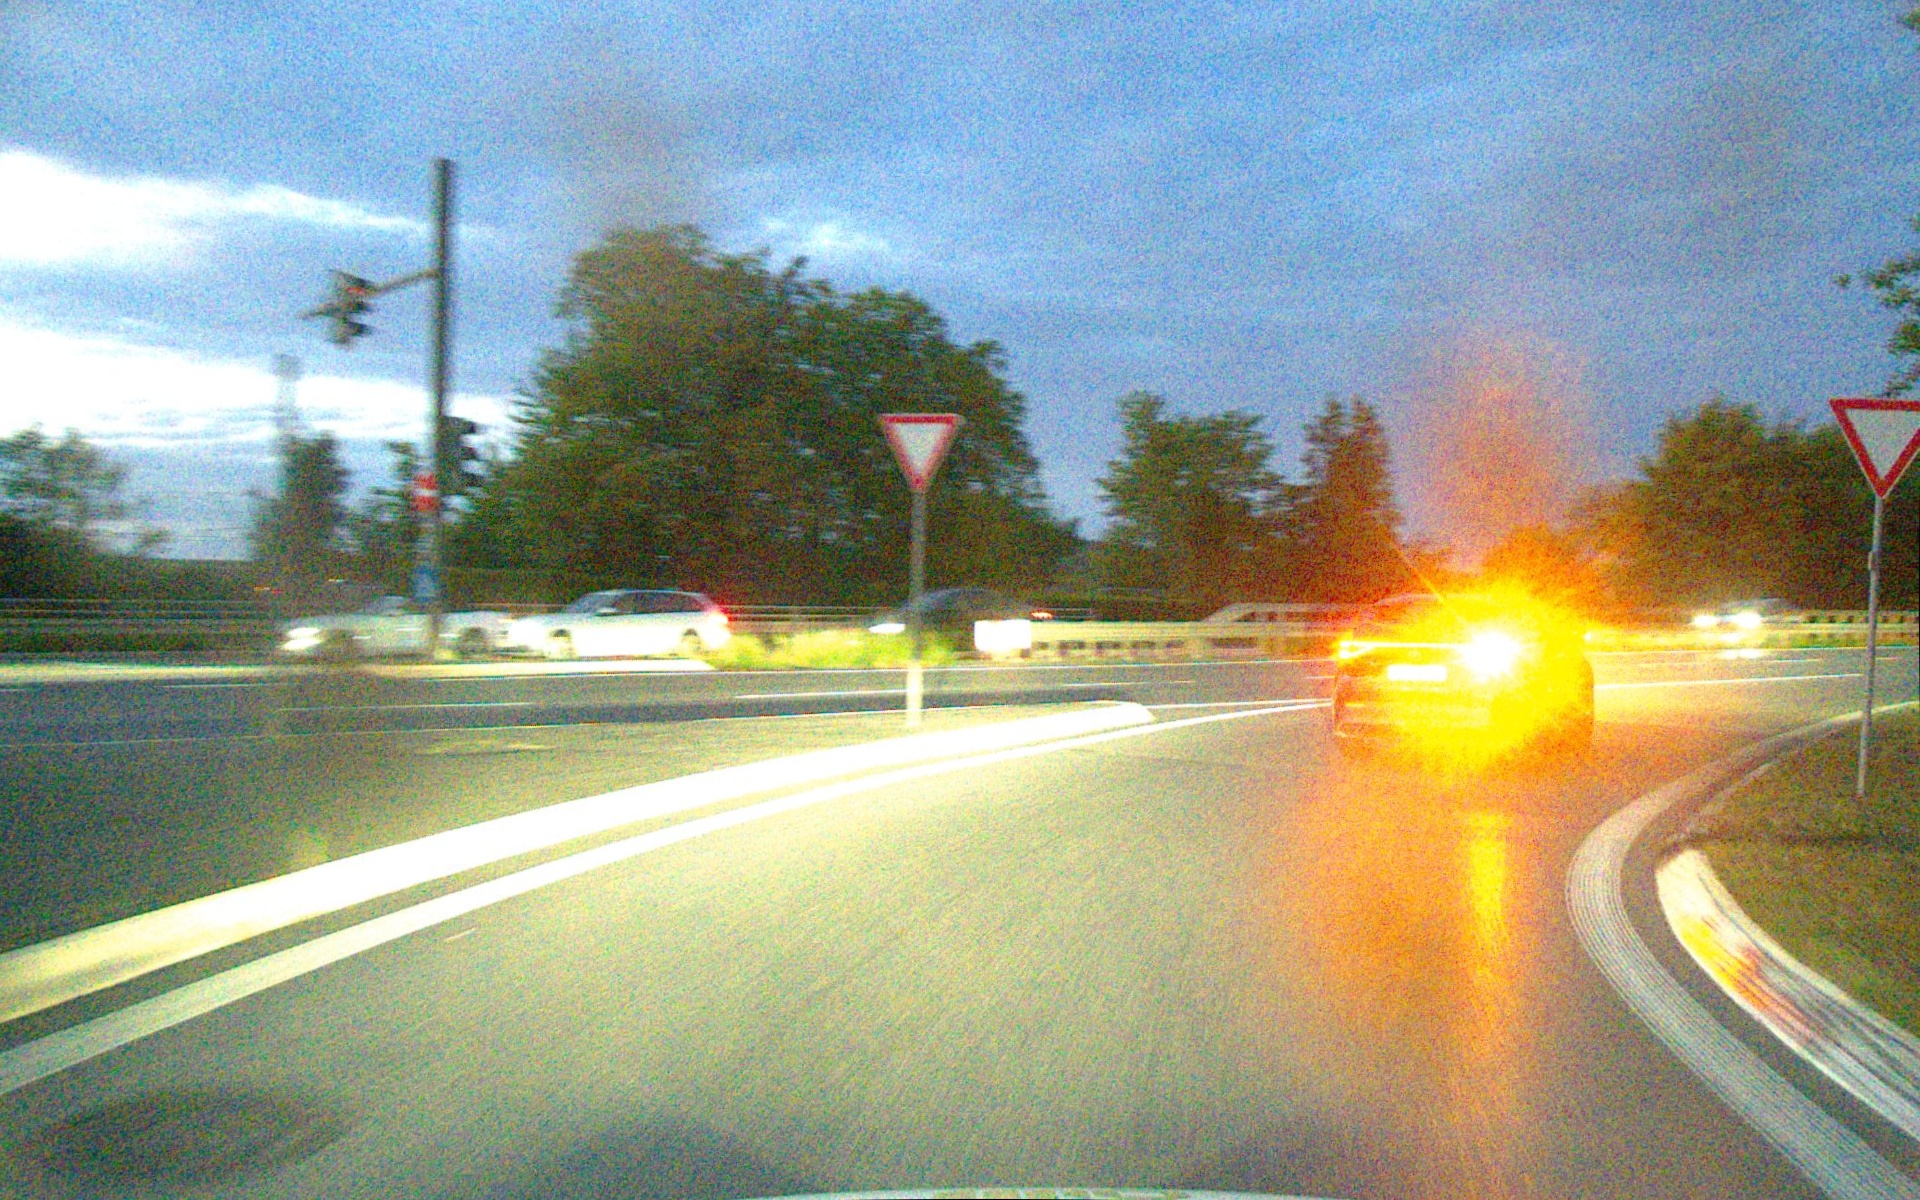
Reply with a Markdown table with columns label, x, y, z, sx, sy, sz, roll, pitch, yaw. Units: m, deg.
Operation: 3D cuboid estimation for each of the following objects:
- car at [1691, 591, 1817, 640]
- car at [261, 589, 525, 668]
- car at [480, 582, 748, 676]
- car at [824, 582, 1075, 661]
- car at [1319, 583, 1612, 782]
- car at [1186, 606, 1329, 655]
| label | x | y | z | sx | sy | sz | roll | pitch | yaw |
| --- | --- | --- | --- | --- | --- | --- | --- | --- | --- |
| car | 26.936 | 0.521 | 56.046 | 4.774 | 1.597 | 1.972 | 0 | -1 | -39 |
| car | -11.387 | 0.534 | 33.423 | 4.691 | 1.478 | 1.971 | 0 | 0 | -41 |
| car | -6.721 | 0.580 | 32.494 | 4.830 | 1.711 | 1.970 | 2 | -1 | -42 |
| car | -0.160 | 0.425 | 33.557 | 4.997 | 1.478 | 1.972 | 0 | -1 | -39 |
| car | 5.207 | 0.687 | 16.599 | 1.865 | 1.648 | 4.548 | 2 | 1 | 29 |
| car | 9.498 | 0.953 | 52.614 | 4.689 | 1.478 | 1.972 | 0 | -1 | -40 |
